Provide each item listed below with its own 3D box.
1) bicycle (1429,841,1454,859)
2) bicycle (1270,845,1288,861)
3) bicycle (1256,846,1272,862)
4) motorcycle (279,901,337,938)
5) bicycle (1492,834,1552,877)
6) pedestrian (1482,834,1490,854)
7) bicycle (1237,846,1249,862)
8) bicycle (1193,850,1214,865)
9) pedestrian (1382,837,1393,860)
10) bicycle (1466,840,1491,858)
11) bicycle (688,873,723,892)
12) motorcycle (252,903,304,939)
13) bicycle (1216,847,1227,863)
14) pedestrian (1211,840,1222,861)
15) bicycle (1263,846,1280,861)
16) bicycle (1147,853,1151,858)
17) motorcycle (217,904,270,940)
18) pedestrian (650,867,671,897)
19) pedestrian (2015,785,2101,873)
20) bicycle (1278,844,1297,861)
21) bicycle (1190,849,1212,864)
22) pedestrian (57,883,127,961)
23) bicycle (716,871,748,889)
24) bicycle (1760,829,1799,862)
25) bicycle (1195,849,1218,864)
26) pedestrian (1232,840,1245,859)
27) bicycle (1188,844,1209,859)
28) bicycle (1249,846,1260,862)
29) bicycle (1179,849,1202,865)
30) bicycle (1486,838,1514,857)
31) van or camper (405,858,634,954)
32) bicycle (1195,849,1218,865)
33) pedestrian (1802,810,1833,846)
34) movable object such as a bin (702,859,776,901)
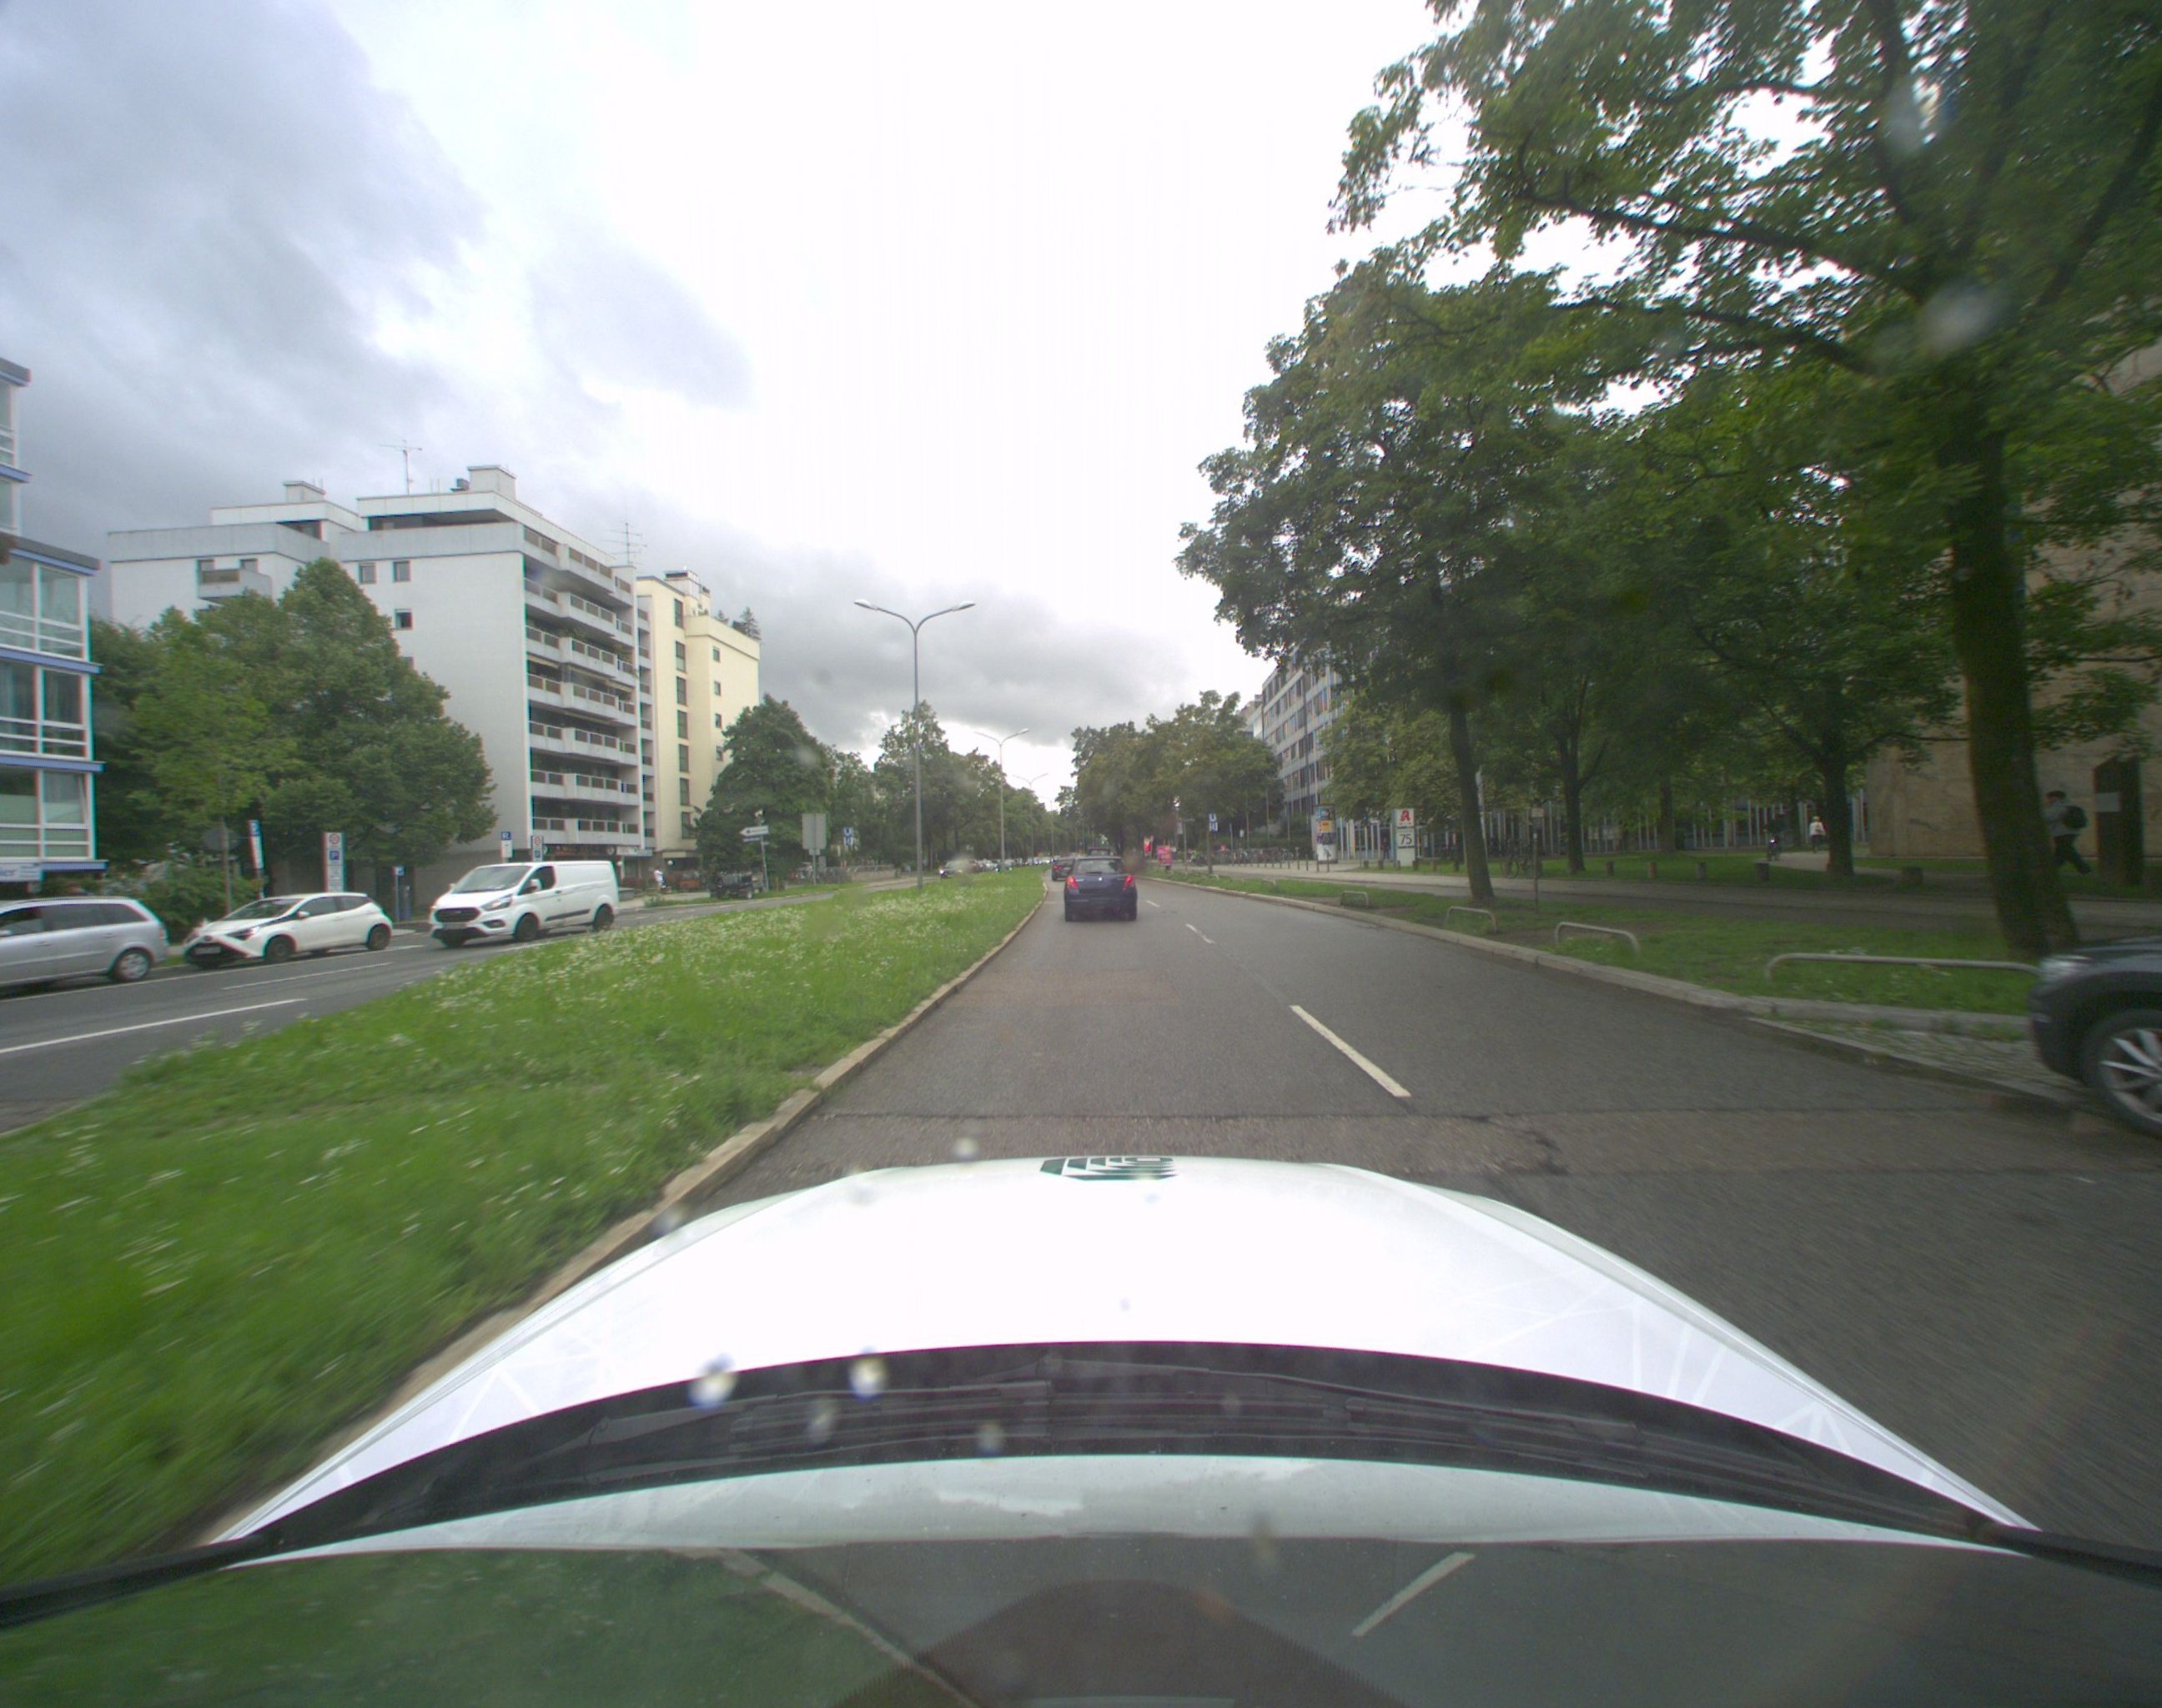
[{"bbox_3d":[25.041,-0.275,56.630,0.605,1.260,2.052,-3,0,-5],"label":"bicycle"},{"bbox_3d":[15.432,-0.049,63.616,0.576,1.189,2.136,-3,0,-8],"label":"bicycle"},{"bbox_3d":[14.229,-0.022,63.384,0.445,1.189,2.136,-3,0,-8],"label":"bicycle"},{"bbox_3d":[-27.914,2.341,29.448,0.498,1.133,2.462,-3,0,-19],"label":"motorcycle"},{"bbox_3d":[13.428,0.051,24.848,0.619,1.250,1.918,-3,0,-4],"label":"bicycle"},{"bbox_3d":[30.080,-0.729,60.526,0.348,1.491,0.345,-2,0,-32],"label":"pedestrian"},{"bbox_3d":[12.693,0.012,63.912,0.486,1.189,1.954,-3,0,0],"label":"bicycle"},{"bbox_3d":[10.330,0.276,68.539,1.965,1.083,0.590,-6,2,-42],"label":"bicycle"},{"bbox_3d":[24.572,-0.451,65.284,0.682,1.772,0.772,-3,0,13],"label":"pedestrian"},{"bbox_3d":[27.684,-0.341,56.706,0.508,1.260,2.017,-3,0,-8],"label":"bicycle"},{"bbox_3d":[-23.588,1.768,51.120,1.938,1.103,0.561,-3,0,6],"label":"bicycle"},{"bbox_3d":[-29.109,2.394,29.568,0.499,1.133,2.458,-3,0,-24],"label":"motorcycle"},{"bbox_3d":[10.991,0.059,63.818,0.486,1.189,1.954,-3,0,0],"label":"bicycle"},{"bbox_3d":[12.555,-0.299,75.378,0.653,1.899,0.744,-3,0,-21],"label":"pedestrian"},{"bbox_3d":[14.791,-0.029,63.203,0.511,1.189,2.136,-3,0,-8],"label":"bicycle"},{"bbox_3d":[14.756,0.351,177.100,0.745,1.183,2.248,-2,0,3],"label":"bicycle"},{"bbox_3d":[-30.624,2.471,29.807,0.499,1.133,2.457,-3,0,-26],"label":"motorcycle"},{"bbox_3d":[-24.941,1.669,48.305,0.667,1.708,1.130,-3,0,-3],"label":"pedestrian"},{"bbox_3d":[19.064,-0.468,15.908,0.568,1.646,0.880,-3,0,5],"label":"pedestrian"},{"bbox_3d":[16.174,-0.126,63.855,0.508,1.294,2.471,-3,0,-8],"label":"bicycle"},{"bbox_3d":[9.852,0.227,66.969,1.965,1.066,0.573,-6,0,-42],"label":"bicycle"},{"bbox_3d":[-23.819,1.620,19.628,0.640,1.805,0.780,-3,0,1],"label":"pedestrian"},{"bbox_3d":[-23.187,1.710,54.146,1.938,1.103,0.490,2,0,6],"label":"bicycle"},{"bbox_3d":[25.910,-0.325,30.197,1.775,1.129,0.718,-3,0,-38],"label":"bicycle"},{"bbox_3d":[10.190,0.206,66.248,2.052,1.089,0.597,-4,-2,-42],"label":"bicycle"},{"bbox_3d":[14.469,-0.429,74.854,0.754,1.714,0.776,-3,0,-38],"label":"pedestrian"},{"bbox_3d":[10.004,-0.232,69.553,1.966,1.108,0.573,-7,3,-42],"label":"bicycle"},{"bbox_3d":[13.545,-0.018,63.637,0.444,1.189,1.954,-3,0,0],"label":"bicycle"},{"bbox_3d":[9.500,0.258,70.486,1.961,1.188,0.591,-6,2,-32],"label":"bicycle"},{"bbox_3d":[29.021,-0.411,56.467,0.552,1.260,2.169,-3,0,-8],"label":"bicycle"},{"bbox_3d":[-14.090,1.189,20.952,2.007,2.016,5.202,-3,0,3],"label":"van or camper"},{"bbox_3d":[9.995,0.230,64.699,2.044,1.099,0.573,-5,-1,-43],"label":"bicycle"},{"bbox_3d":[35.535,-1.233,39.289,0.589,1.678,0.860,-3,0,-21],"label":"pedestrian"},{"bbox_3d":[-17.446,1.289,41.772,2.188,1.953,3.996,-3,0,-3],"label":"movable object such as a bin"}]
